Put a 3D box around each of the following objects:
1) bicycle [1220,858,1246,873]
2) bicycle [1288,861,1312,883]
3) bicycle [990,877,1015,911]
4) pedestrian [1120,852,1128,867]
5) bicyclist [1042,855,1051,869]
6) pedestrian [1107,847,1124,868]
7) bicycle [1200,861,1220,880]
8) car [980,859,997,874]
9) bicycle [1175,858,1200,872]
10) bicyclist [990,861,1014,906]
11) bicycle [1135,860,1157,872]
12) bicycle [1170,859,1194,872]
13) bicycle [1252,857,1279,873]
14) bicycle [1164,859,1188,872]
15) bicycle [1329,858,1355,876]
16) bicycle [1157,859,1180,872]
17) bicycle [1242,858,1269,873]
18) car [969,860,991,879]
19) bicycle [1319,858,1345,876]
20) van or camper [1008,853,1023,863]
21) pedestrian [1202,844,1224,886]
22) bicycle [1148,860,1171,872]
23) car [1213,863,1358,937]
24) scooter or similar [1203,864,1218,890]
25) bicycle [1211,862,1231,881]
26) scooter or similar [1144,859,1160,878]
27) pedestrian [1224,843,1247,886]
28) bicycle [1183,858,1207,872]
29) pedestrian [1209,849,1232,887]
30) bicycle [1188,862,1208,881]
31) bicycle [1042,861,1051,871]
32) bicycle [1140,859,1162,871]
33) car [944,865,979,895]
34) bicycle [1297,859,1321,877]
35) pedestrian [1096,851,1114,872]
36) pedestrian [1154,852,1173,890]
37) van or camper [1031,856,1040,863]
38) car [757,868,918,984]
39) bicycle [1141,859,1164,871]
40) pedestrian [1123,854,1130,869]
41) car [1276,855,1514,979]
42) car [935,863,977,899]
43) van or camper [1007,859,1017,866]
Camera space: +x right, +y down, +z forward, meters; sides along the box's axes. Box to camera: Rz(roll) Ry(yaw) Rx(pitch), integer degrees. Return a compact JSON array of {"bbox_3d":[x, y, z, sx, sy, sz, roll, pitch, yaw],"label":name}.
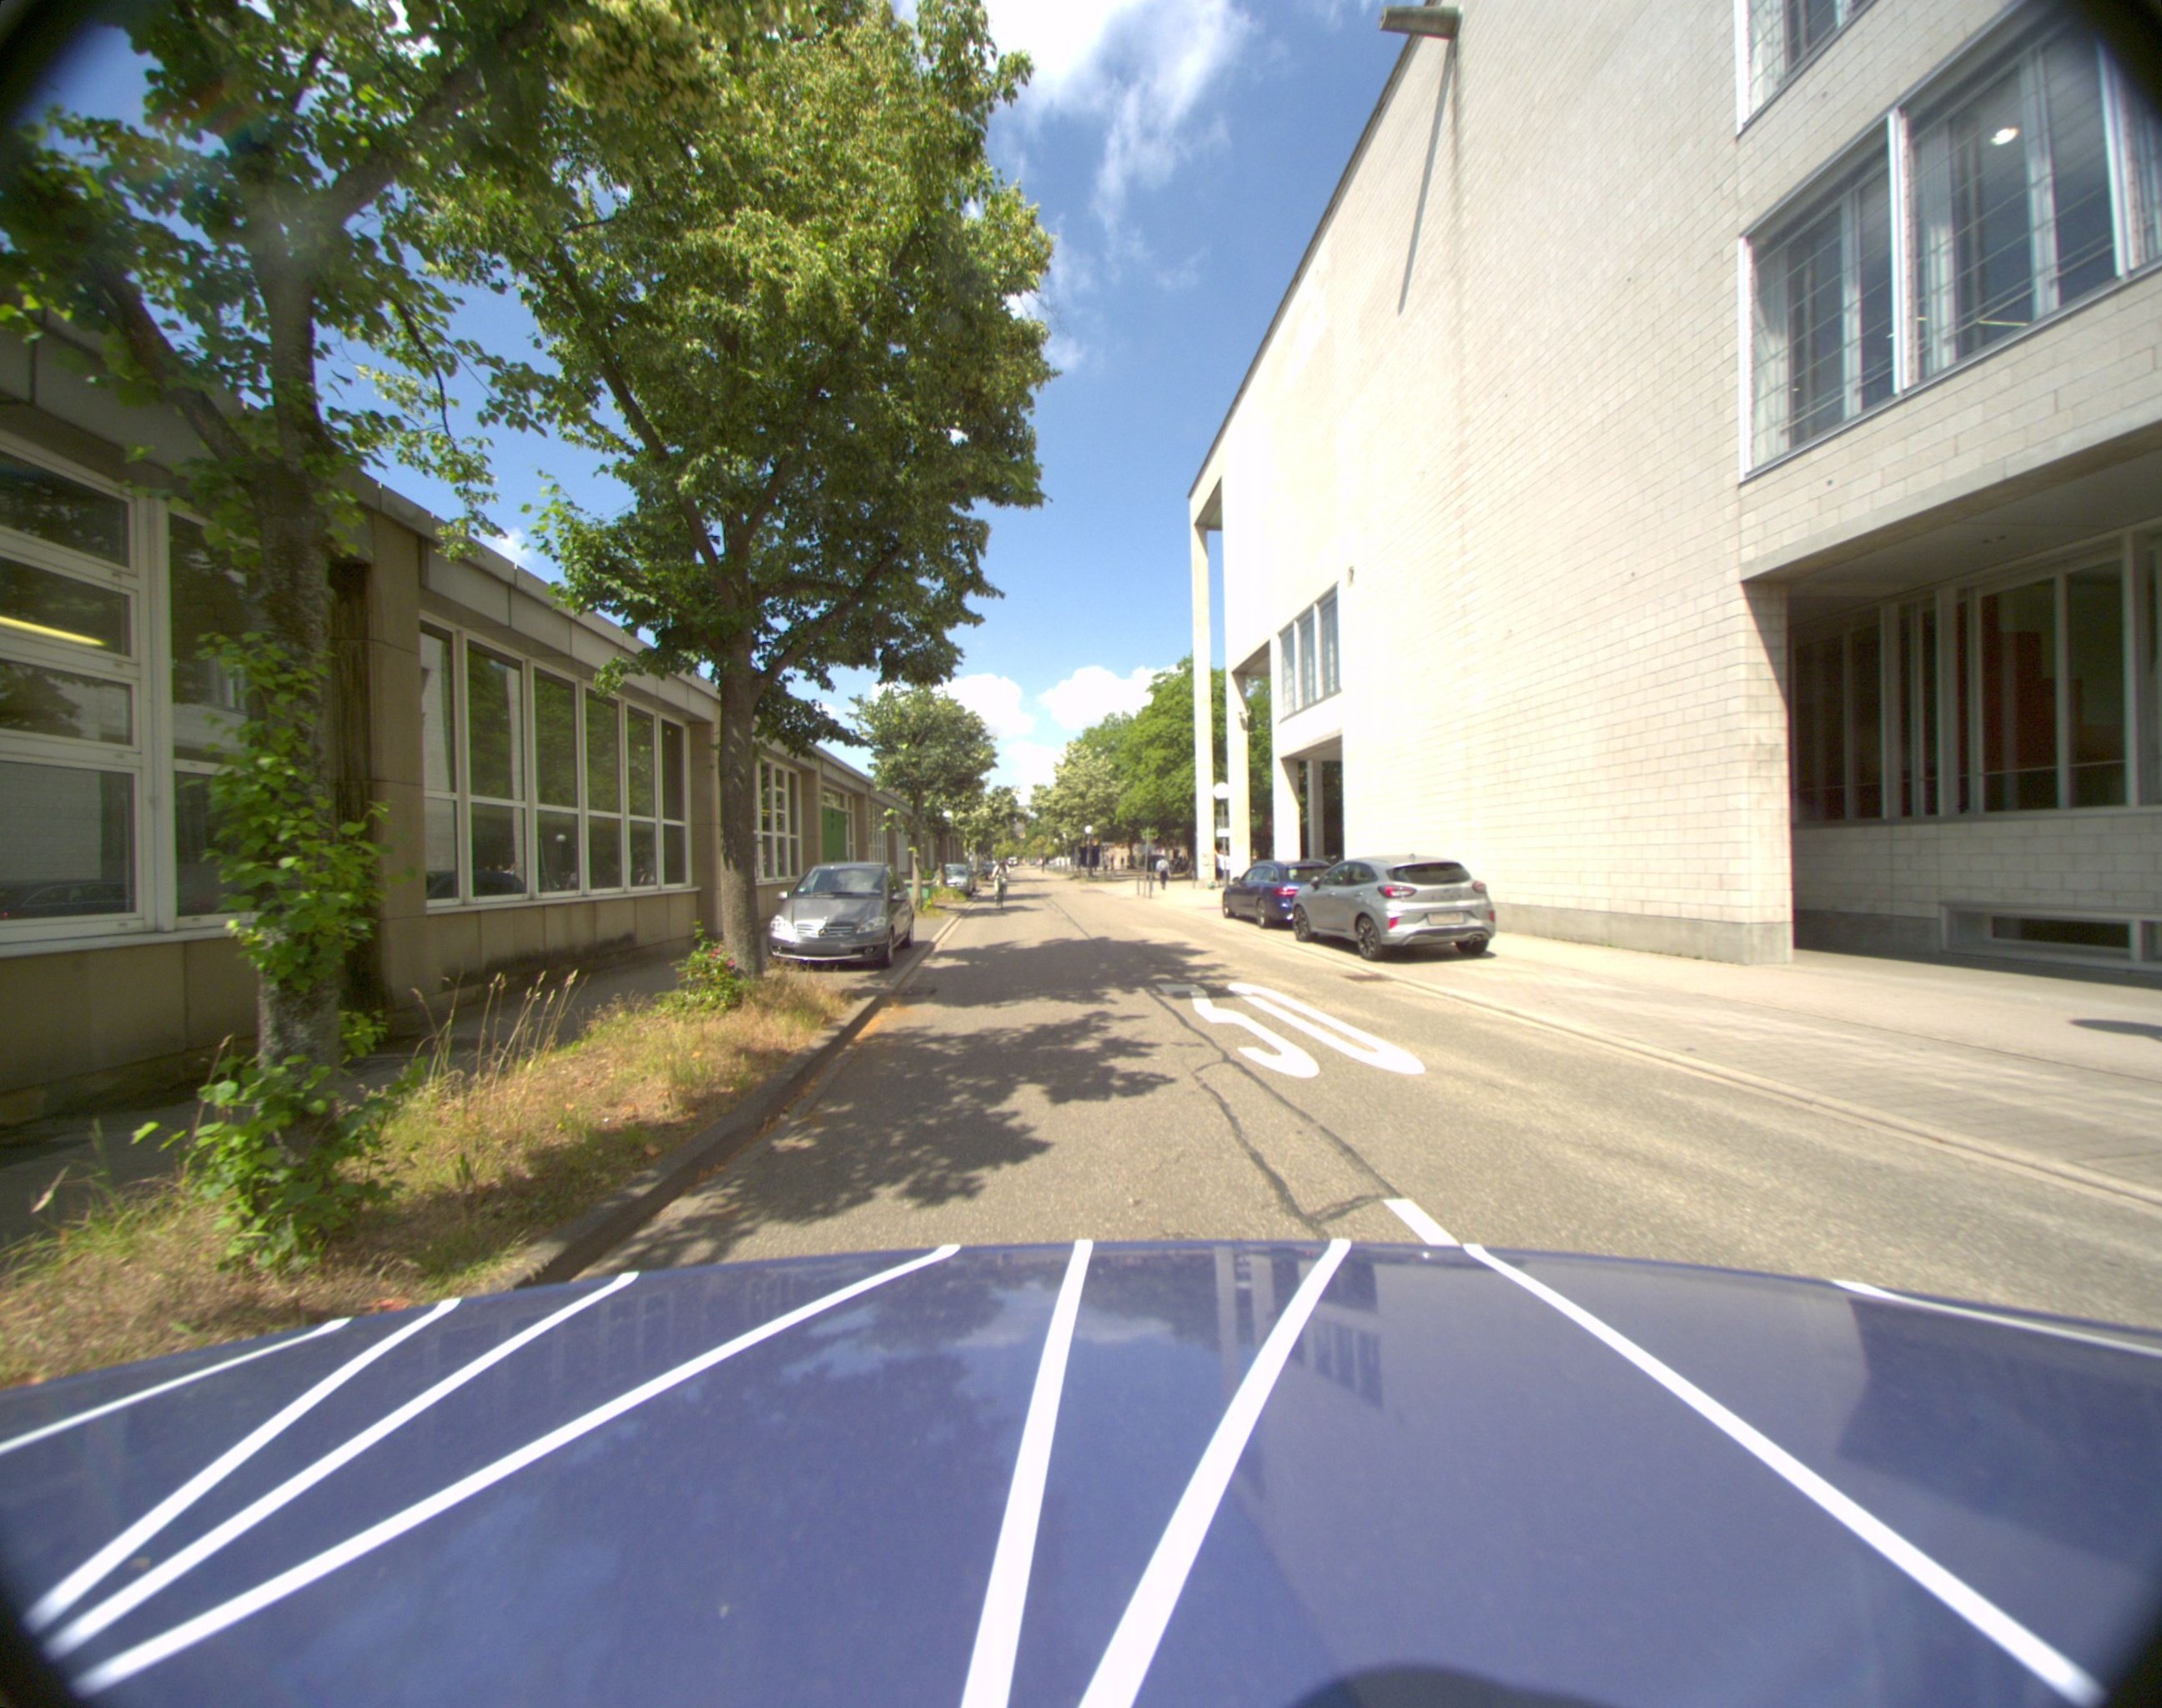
[{"bbox_3d":[12.321,0.903,61.422,2.128,1.100,0.751,-2,1,-35],"label":"bicycle"},{"bbox_3d":[10.788,0.871,37.469,0.517,0.980,1.964,-2,0,-2],"label":"bicycle"},{"bbox_3d":[-2.675,1.343,25.787,0.781,1.042,1.912,-1,0,-7],"label":"bicycle"},{"bbox_3d":[5.588,0.731,99.652,0.677,1.882,0.816,-1,1,35],"label":"pedestrian"},{"bbox_3d":[-4.308,1.029,94.417,1.053,1.690,1.281,-2,1,-5],"label":"bicyclist"},{"bbox_3d":[3.427,0.343,75.964,1.400,2.002,1.369,-2,0,-6],"label":"pedestrian"},{"bbox_3d":[7.665,0.984,45.076,0.592,1.052,2.123,-2,0,-6],"label":"bicycle"},{"bbox_3d":[-9.659,1.309,79.245,1.650,1.484,3.814,0,0,-6],"label":"car"},{"bbox_3d":[9.283,0.965,66.148,2.128,1.151,0.751,-2,1,-35],"label":"bicycle"},{"bbox_3d":[-2.693,0.986,25.870,0.781,1.478,0.695,-1,0,-7],"label":"bicyclist"},{"bbox_3d":[6.100,1.101,71.403,2.128,1.052,0.621,-2,1,-35],"label":"bicycle"},{"bbox_3d":[8.855,1.000,66.774,2.128,1.100,0.681,-2,1,-35],"label":"bicycle"},{"bbox_3d":[14.192,0.850,58.535,2.128,1.100,0.751,-2,1,-35],"label":"bicycle"},{"bbox_3d":[8.416,1.013,67.382,2.128,1.100,0.681,-2,1,-35],"label":"bicycle"},{"bbox_3d":[15.680,0.759,45.677,0.622,1.052,2.173,-2,0,-6],"label":"bicycle"},{"bbox_3d":[7.857,1.053,68.212,2.128,1.052,0.681,-2,1,-35],"label":"bicycle"},{"bbox_3d":[13.648,0.866,59.450,2.128,1.100,0.751,-2,1,-35],"label":"bicycle"},{"bbox_3d":[-8.388,1.242,63.335,1.650,1.484,3.814,0,0,-6],"label":"car"},{"bbox_3d":[15.018,0.764,45.596,0.622,1.052,2.173,-2,0,-6],"label":"bicycle"},{"bbox_3d":[-16.207,0.905,188.438,1.996,2.347,4.389,-1,0,17],"label":"van or camper"},{"bbox_3d":[6.475,0.518,37.345,0.755,2.002,1.080,-2,0,-6],"label":"pedestrian"},{"bbox_3d":[7.158,1.071,69.631,2.128,1.052,0.681,-2,1,-35],"label":"bicycle"},{"bbox_3d":[4.521,0.945,17.578,1.731,1.414,4.663,-2,0,-5],"label":"car"},{"bbox_3d":[5.866,1.016,34.444,0.318,1.138,1.312,-2,0,-5],"label":"scooter or similar"},{"bbox_3d":[8.302,1.007,45.155,0.622,1.052,2.123,-2,0,-6],"label":"bicycle"},{"bbox_3d":[4.656,0.965,50.035,0.713,1.184,1.617,-1,1,17],"label":"scooter or similar"},{"bbox_3d":[7.380,0.492,36.395,0.755,2.002,1.080,-2,0,-6],"label":"pedestrian"},{"bbox_3d":[9.812,0.947,65.344,2.128,1.100,0.751,-2,1,-35],"label":"bicycle"},{"bbox_3d":[6.614,0.646,36.056,0.755,1.770,1.080,-2,0,-6],"label":"pedestrian"},{"bbox_3d":[6.919,1.006,44.993,0.509,1.100,2.000,-2,0,-9],"label":"bicycle"},{"bbox_3d":[-4.299,1.460,94.536,1.012,1.169,3.392,-2,0,-4],"label":"bicycle"},{"bbox_3d":[6.555,1.052,70.819,2.128,1.052,0.621,-2,1,-35],"label":"bicycle"},{"bbox_3d":[-6.255,1.311,40.081,1.622,1.455,3.815,1,0,-6],"label":"car"},{"bbox_3d":[13.670,0.825,45.570,0.622,1.052,2.123,-2,0,-6],"label":"bicycle"},{"bbox_3d":[2.165,0.705,68.373,1.400,1.813,1.369,-2,0,-6],"label":"pedestrian"},{"bbox_3d":[3.962,0.792,36.465,0.761,1.715,1.235,-4,1,6],"label":"pedestrian"},{"bbox_3d":[-14.061,1.753,234.604,1.853,2.093,4.305,-2,0,5],"label":"van or camper"},{"bbox_3d":[-3.799,1.039,12.515,1.761,1.559,3.815,0,0,-6],"label":"car"},{"bbox_3d":[6.612,1.038,70.085,2.128,1.052,0.621,-2,1,-35],"label":"bicycle"},{"bbox_3d":[5.172,0.866,86.945,0.678,1.661,0.815,-2,1,1],"label":"pedestrian"},{"bbox_3d":[4.818,0.854,12.452,1.731,1.526,4.403,-3,1,-5],"label":"car"},{"bbox_3d":[-5.673,1.204,34.761,1.622,1.503,3.815,1,0,-6],"label":"car"},{"bbox_3d":[-22.055,2.776,243.243,2.093,1.963,4.262,-2,0,9],"label":"van or camper"}]
